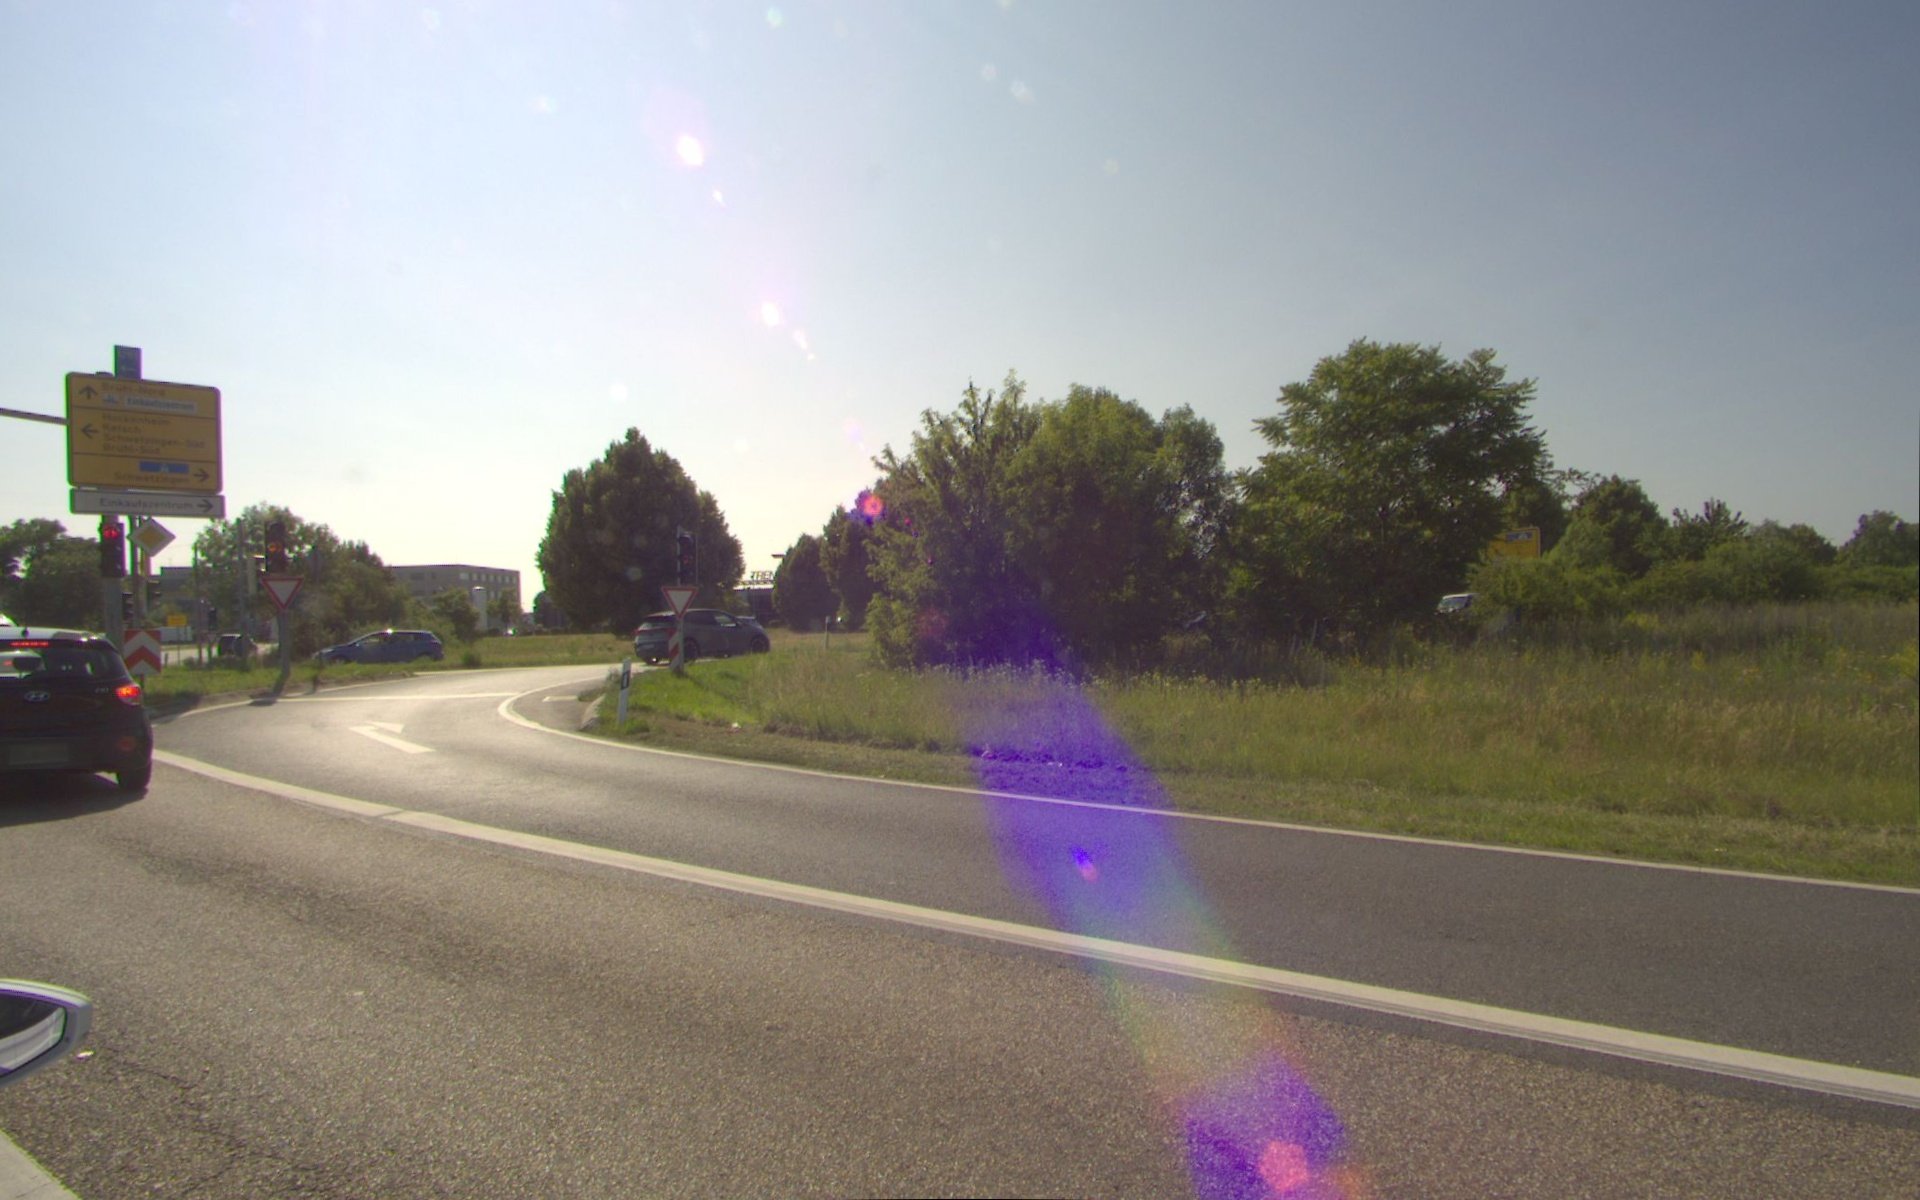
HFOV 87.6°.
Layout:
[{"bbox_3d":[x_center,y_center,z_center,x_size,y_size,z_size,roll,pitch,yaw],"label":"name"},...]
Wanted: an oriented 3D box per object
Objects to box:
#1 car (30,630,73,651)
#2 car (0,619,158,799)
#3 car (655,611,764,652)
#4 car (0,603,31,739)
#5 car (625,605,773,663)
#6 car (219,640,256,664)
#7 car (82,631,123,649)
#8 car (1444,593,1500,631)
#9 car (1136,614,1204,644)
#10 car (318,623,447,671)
[{"bbox_3d":[-69.191,3.058,76.302,1.693,1.568,3.593,1,-2,-30],"label":"car"},{"bbox_3d":[-8.959,0.926,9.380,3.255,1.467,1.626,-1,-2,39],"label":"car"},{"bbox_3d":[-10.232,1.265,40.990,3.981,1.539,1.797,0,-1,-32],"label":"car"},{"bbox_3d":[-13.770,0.922,13.297,3.705,1.698,1.626,-2,-2,39],"label":"car"},{"bbox_3d":[-7.602,0.956,29.542,1.754,1.537,4.075,-1,0,34],"label":"car"},{"bbox_3d":[-51.733,3.702,71.755,1.857,1.694,3.750,1,-2,-32],"label":"car"},{"bbox_3d":[-79.008,3.705,92.314,1.688,1.568,3.603,1,-2,-20],"label":"car"},{"bbox_3d":[34.209,0.848,66.847,3.851,2.467,1.455,1,-2,-30],"label":"car"},{"bbox_3d":[11.299,1.582,53.812,3.495,1.535,1.455,1,-2,-30],"label":"car"},{"bbox_3d":[-20.212,1.614,35.123,3.827,1.539,1.797,0,-1,-32],"label":"car"}]
